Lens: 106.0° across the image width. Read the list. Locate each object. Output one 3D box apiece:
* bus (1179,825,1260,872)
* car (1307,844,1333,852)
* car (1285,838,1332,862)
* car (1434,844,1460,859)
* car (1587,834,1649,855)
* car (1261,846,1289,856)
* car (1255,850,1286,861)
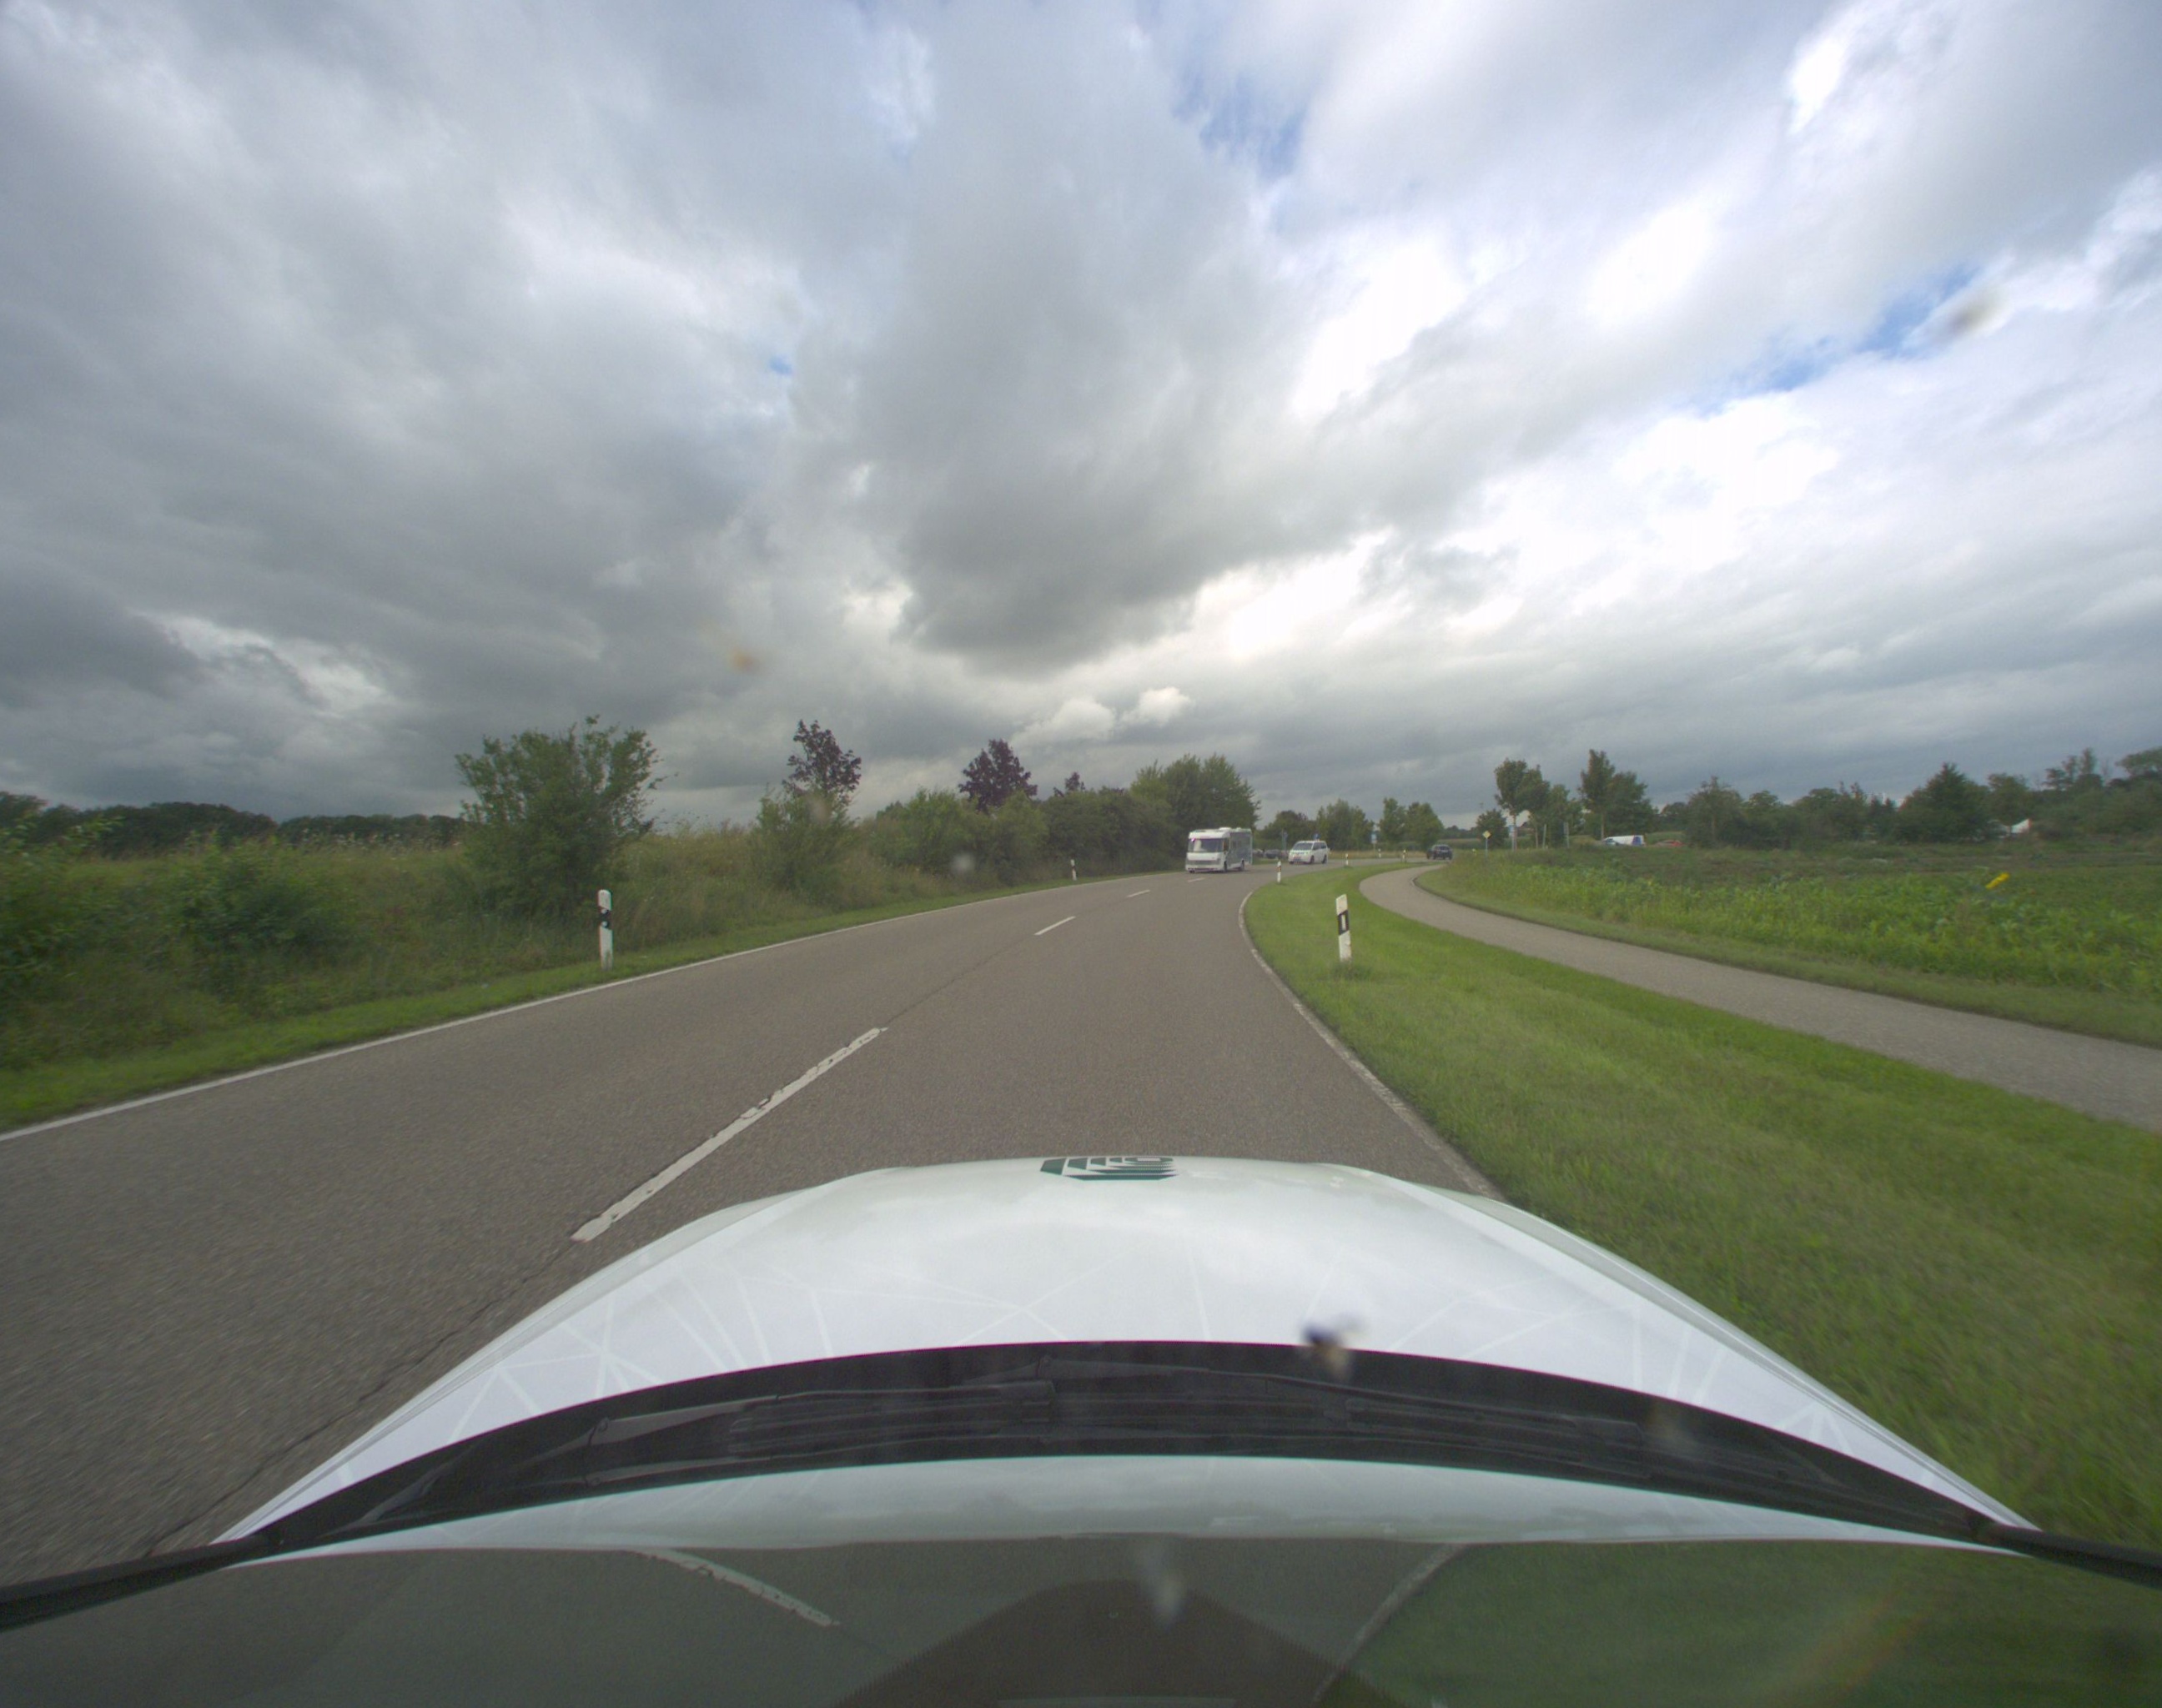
[{"bbox_3d":[8.914,-0.353,51.452,2.452,2.711,8.482,-1,0,28],"label":"bus"},{"bbox_3d":[40.929,-1.053,139.505,3.950,1.380,1.485,-1,0,25],"label":"car"},{"bbox_3d":[19.033,-0.357,67.964,2.092,1.868,5.220,-1,0,35],"label":"car"},{"bbox_3d":[36.599,-0.281,81.523,1.827,1.417,4.018,-1,0,17],"label":"car"},{"bbox_3d":[54.017,-0.984,81.954,4.899,1.974,1.967,-1,0,42],"label":"car"},{"bbox_3d":[29.157,-0.400,122.205,3.954,1.380,1.483,-1,0,19],"label":"car"},{"bbox_3d":[27.491,0.222,118.148,3.948,1.380,1.835,-1,0,31],"label":"car"}]
